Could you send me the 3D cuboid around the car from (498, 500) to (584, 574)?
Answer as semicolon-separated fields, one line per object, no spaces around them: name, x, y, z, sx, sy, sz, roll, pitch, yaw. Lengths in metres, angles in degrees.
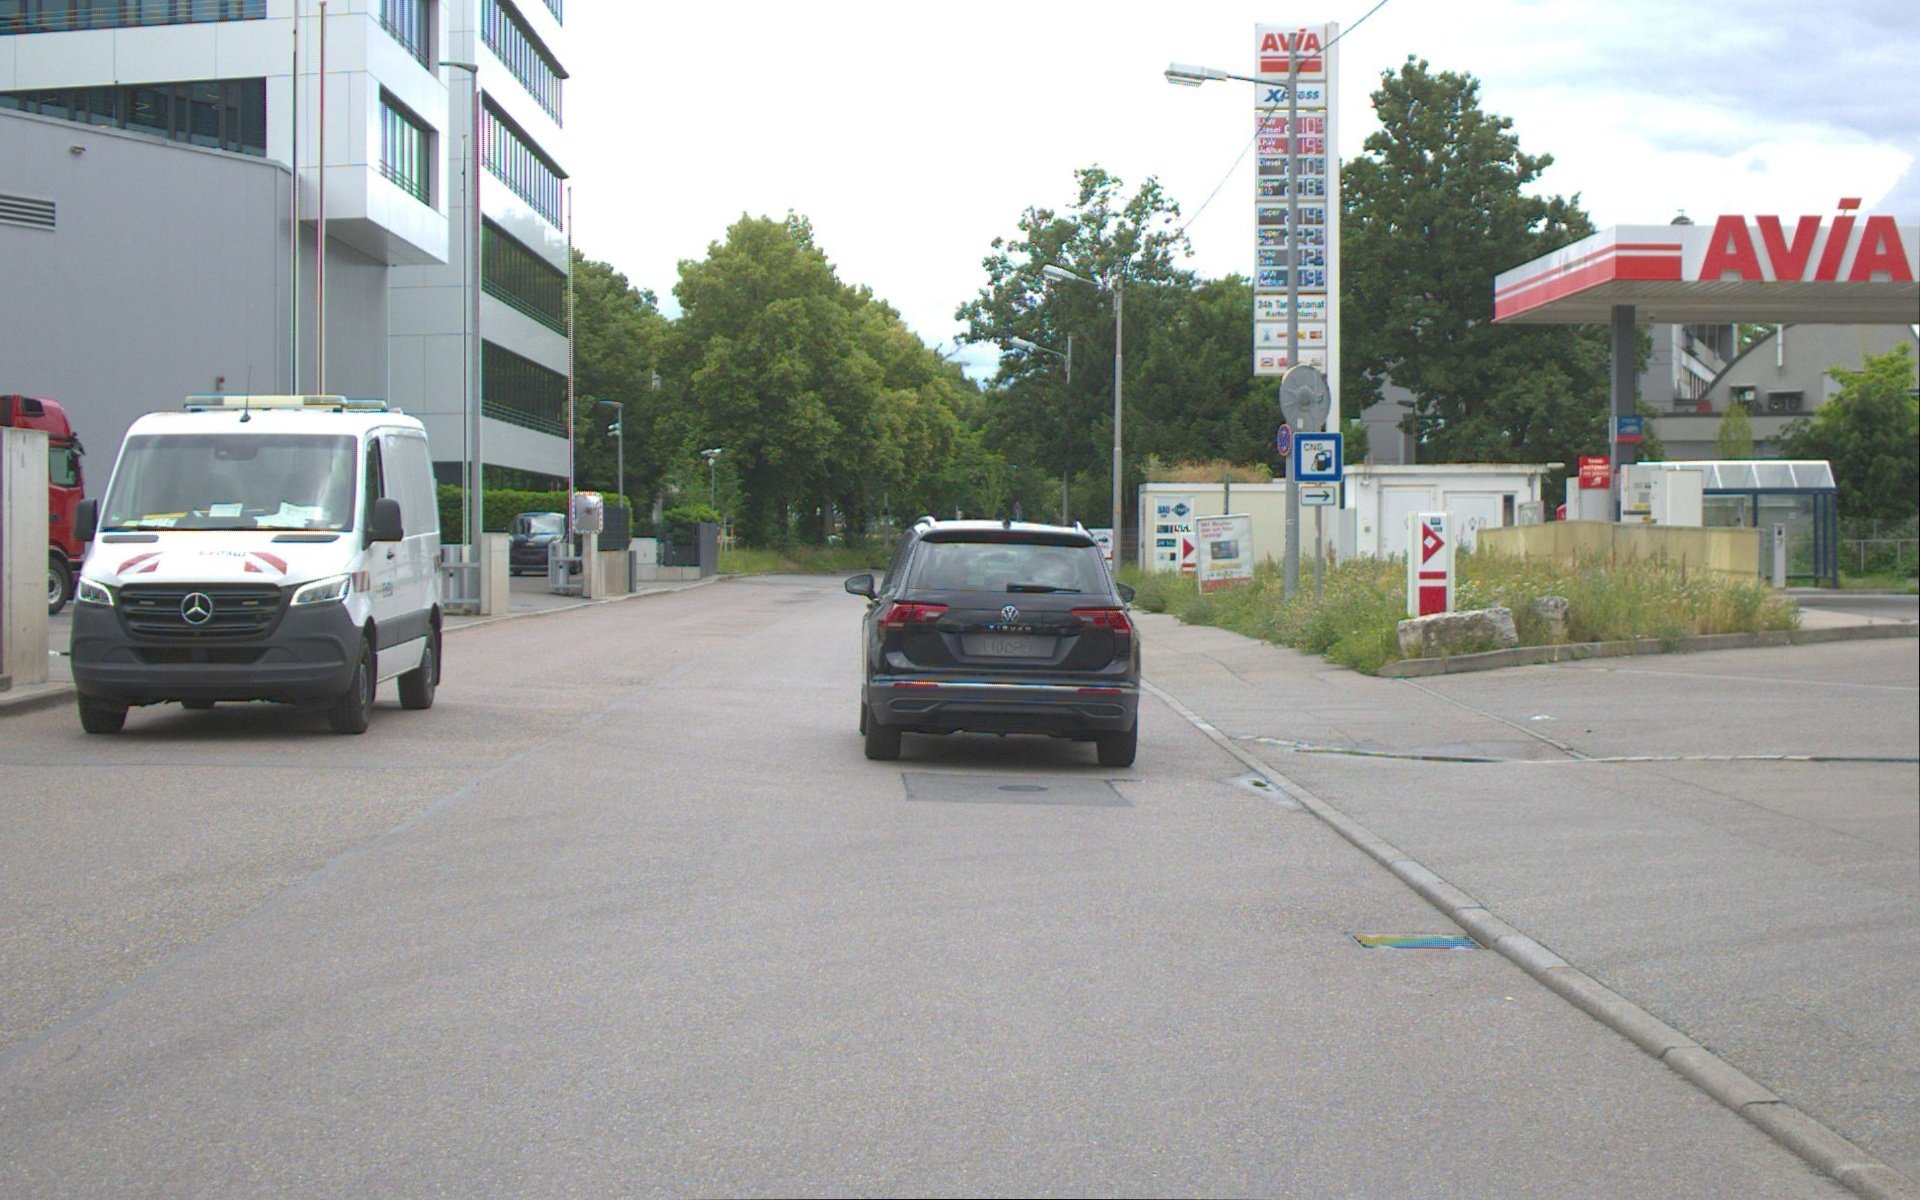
car;-10.324;-1.557;84.926;1.650;1.756;3.179;2;1;1

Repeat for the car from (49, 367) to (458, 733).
car;-5.113;-0.407;25.630;1.993;2.407;5.257;1;2;-1

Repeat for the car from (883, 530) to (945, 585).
car;-1.382;-1.289;104.107;1.839;1.611;4.000;0;1;0

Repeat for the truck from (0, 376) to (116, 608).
truck;-17.912;-1.890;59.898;2.745;4.017;7.086;1;2;20

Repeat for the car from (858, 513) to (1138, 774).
car;0.297;0.260;23.766;1.739;1.612;3.641;2;1;2

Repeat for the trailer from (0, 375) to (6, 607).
trailer;-19.997;-1.777;54.199;2.745;4.017;12.605;1;2;20
